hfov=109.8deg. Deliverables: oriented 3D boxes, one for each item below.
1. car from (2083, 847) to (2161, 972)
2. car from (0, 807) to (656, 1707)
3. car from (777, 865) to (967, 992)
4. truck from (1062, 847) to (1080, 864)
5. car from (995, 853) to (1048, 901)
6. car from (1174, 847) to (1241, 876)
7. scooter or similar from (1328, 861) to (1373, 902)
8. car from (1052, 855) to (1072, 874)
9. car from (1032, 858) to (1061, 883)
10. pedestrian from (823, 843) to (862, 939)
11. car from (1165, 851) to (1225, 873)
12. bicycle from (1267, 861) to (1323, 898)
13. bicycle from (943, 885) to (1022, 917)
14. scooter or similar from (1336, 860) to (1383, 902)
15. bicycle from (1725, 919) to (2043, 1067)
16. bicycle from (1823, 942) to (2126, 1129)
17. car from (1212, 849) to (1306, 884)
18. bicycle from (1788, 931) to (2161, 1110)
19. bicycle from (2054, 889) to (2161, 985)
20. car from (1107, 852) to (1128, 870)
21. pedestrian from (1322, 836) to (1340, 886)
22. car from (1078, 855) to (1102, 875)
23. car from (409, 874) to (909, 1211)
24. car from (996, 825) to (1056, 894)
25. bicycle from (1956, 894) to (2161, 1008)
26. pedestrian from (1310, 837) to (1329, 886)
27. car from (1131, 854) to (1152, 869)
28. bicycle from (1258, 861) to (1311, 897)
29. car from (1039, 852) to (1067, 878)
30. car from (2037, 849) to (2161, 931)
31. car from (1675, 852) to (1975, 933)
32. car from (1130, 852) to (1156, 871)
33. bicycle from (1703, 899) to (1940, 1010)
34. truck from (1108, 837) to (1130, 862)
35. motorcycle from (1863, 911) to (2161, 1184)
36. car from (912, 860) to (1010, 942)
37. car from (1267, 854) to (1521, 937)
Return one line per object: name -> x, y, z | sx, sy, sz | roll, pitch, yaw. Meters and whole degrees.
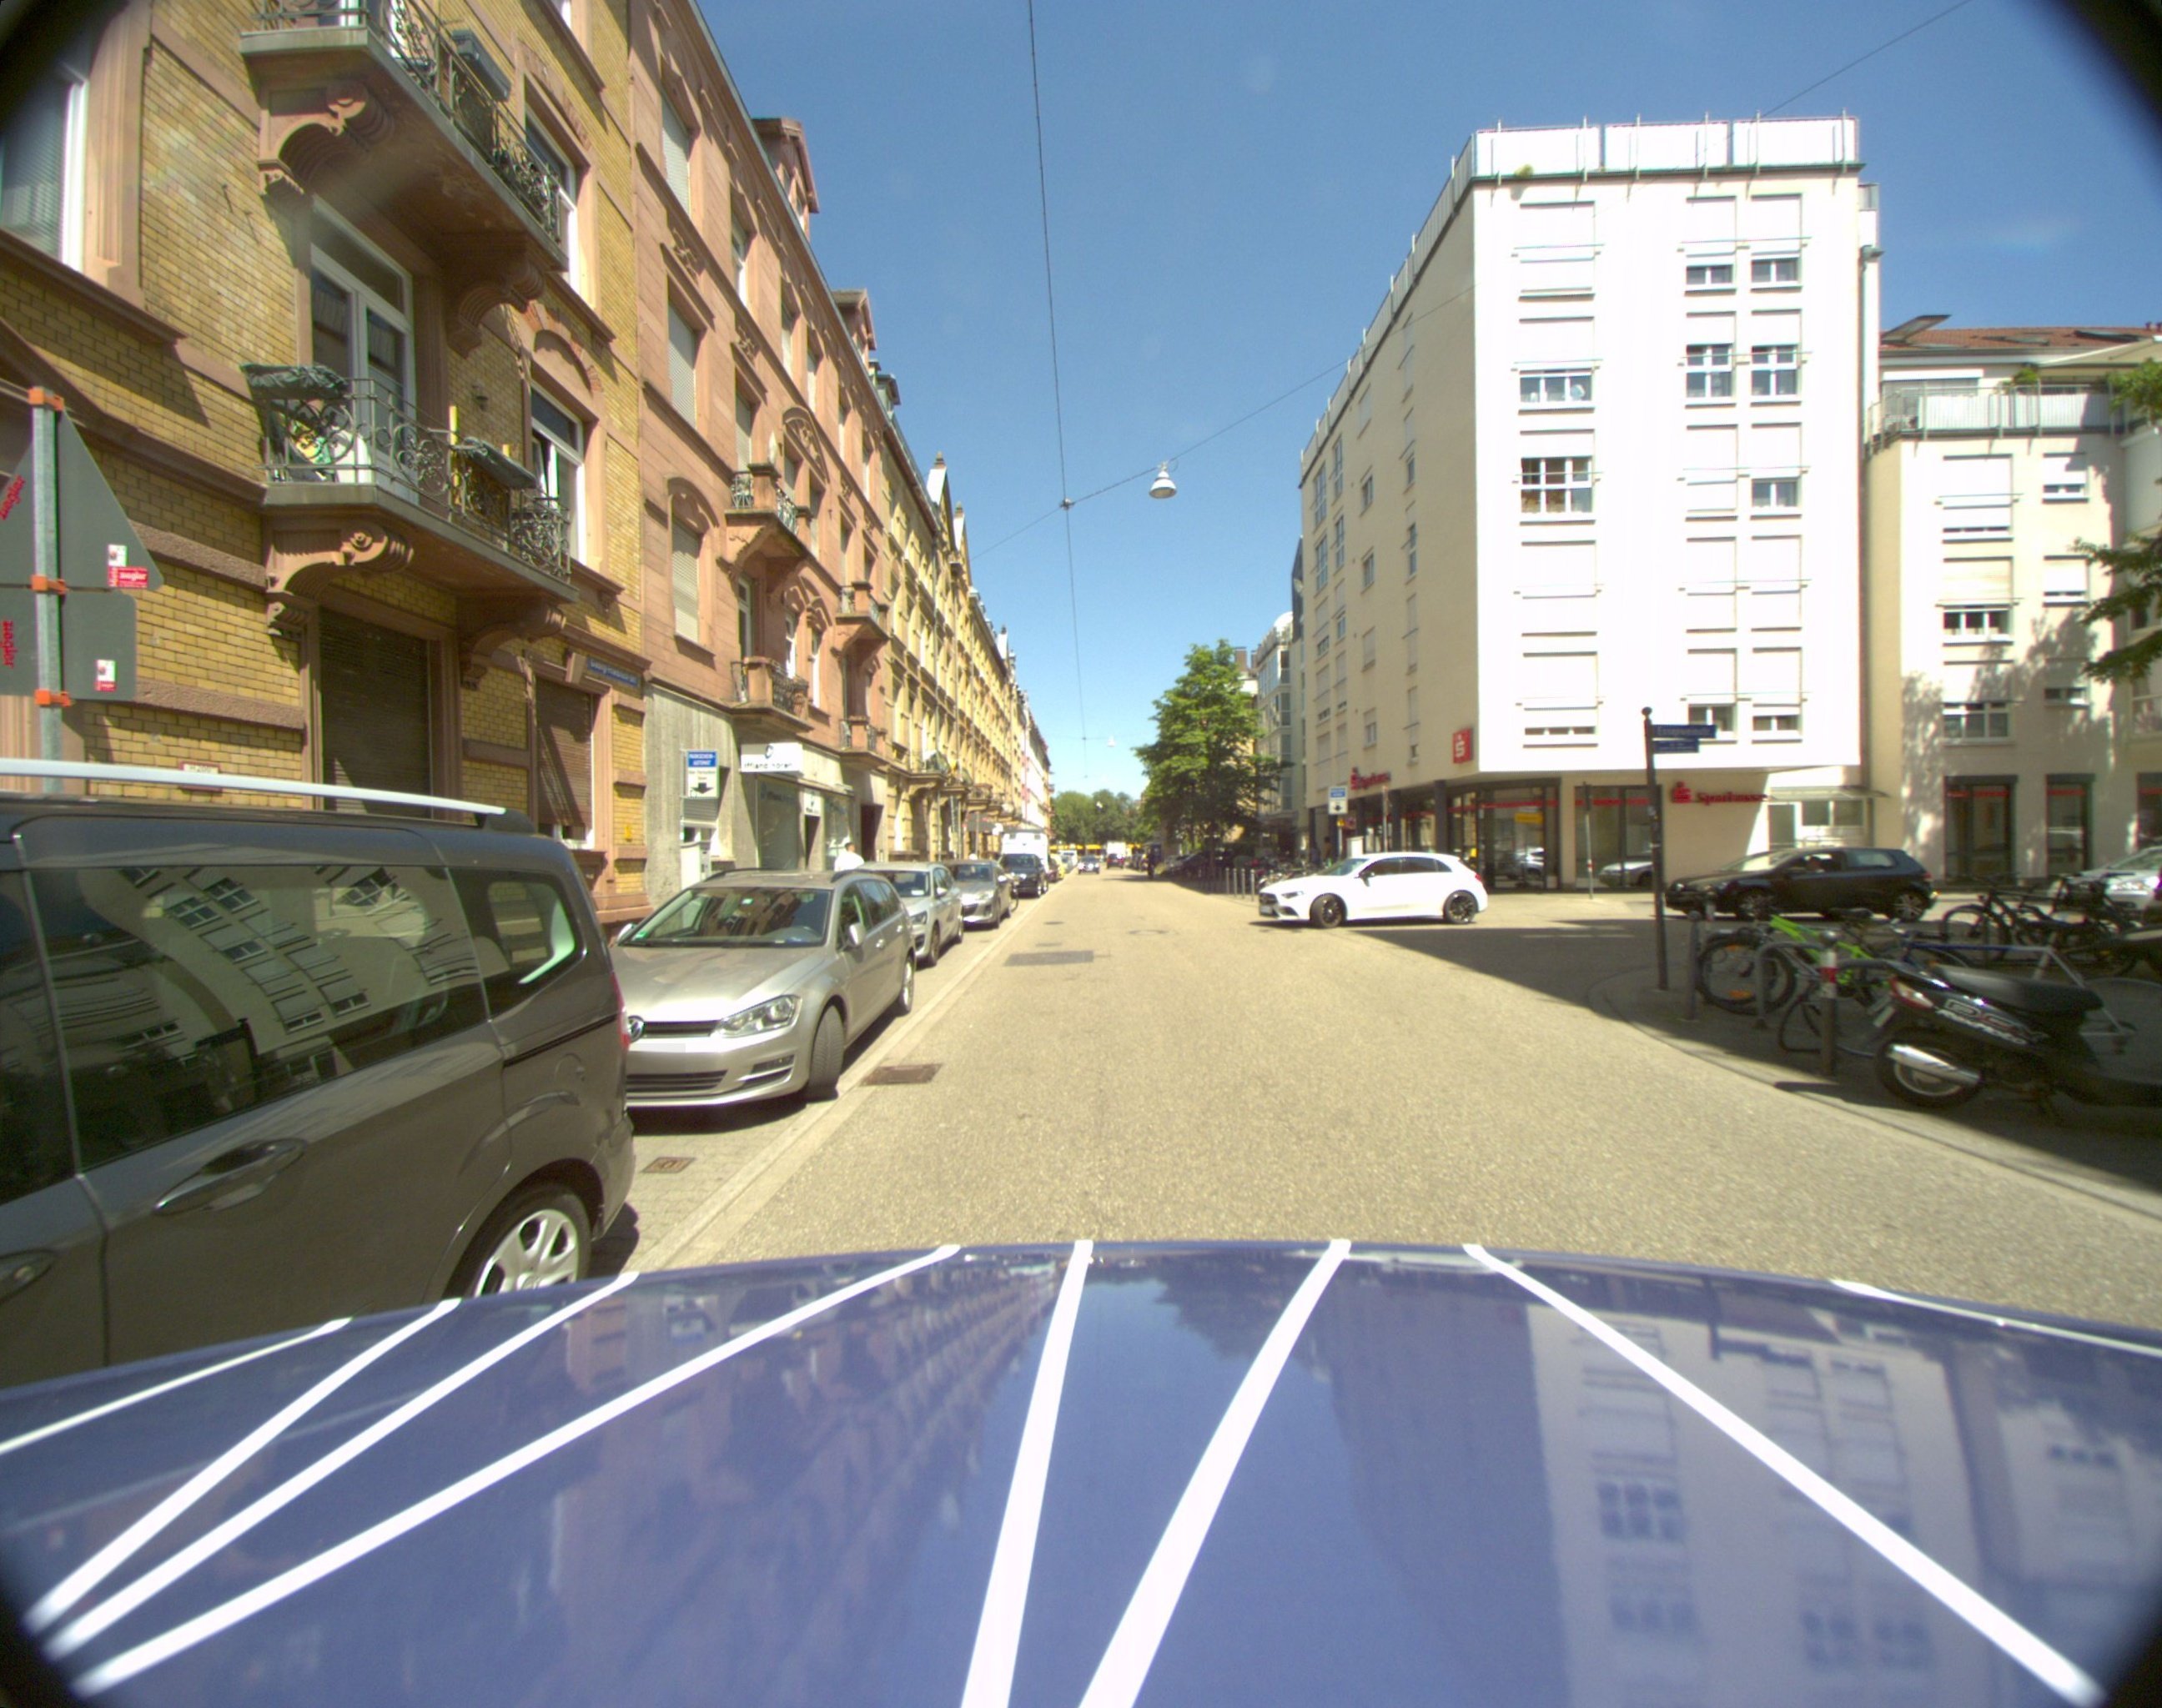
car -> 14.293, 0.524, 8.268 | 3.997, 1.421, 2.001 | -3, -3, 1
car -> -2.500, 0.820, 0.841 | 1.706, 1.723, 4.000 | -2, 1, 1
car -> -2.927, 0.968, 11.575 | 1.830, 1.452, 3.999 | -2, 1, -2
truck -> -1.227, 0.205, 94.258 | 1.998, 2.002, 4.902 | -1, 0, 1
car -> -2.069, 0.756, 27.271 | 1.682, 1.528, 3.999 | -2, 1, -2
car -> 7.859, 0.469, 47.268 | 3.885, 1.737, 1.652 | -1, 0, 0
scooter or similar -> 7.776, 0.792, 21.924 | 1.192, 1.161, 0.289 | -1, 1, -1
car -> -1.690, 0.872, 66.600 | 1.682, 1.528, 3.999 | -2, 1, -2
car -> -1.960, 0.916, 43.541 | 1.533, 1.293, 3.686 | -2, 1, -2
pedestrian -> -4.814, 0.741, 15.374 | 0.635, 1.903, 0.370 | -1, 1, 1
car -> 7.901, 0.539, 52.760 | 3.885, 1.487, 1.652 | -1, 0, 0
bicycle -> 6.684, 0.798, 23.740 | 1.608, 1.084, 0.371 | -3, 1, 6
bicycle -> -2.596, 1.233, 20.061 | 1.965, 0.772, 0.568 | -1, 1, 5
scooter or similar -> 7.867, 0.749, 21.469 | 1.192, 1.161, 0.289 | -1, 1, -1
bicycle -> 6.317, 1.045, 6.108 | 1.706, 0.951, 0.411 | -1, 1, 43
bicycle -> 5.566, 1.087, 4.824 | 1.210, 0.951, 0.338 | -1, 1, 43
car -> 8.086, 0.563, 34.650 | 3.885, 1.520, 1.652 | -1, 0, 0
bicycle -> 6.035, 1.069, 5.225 | 1.706, 0.951, 0.411 | -1, 1, 43
bicycle -> 11.599, 0.896, 8.051 | 0.410, 0.951, 1.711 | -2, 1, 1
car -> 3.737, 0.671, 78.929 | 1.998, 1.674, 4.000 | -3, 1, 1
pedestrian -> 10.692, 0.315, 32.473 | 0.608, 2.113, 0.496 | 0, 1, 36
car -> 0.736, 0.858, 62.098 | 1.780, 1.460, 4.000 | -3, 1, 1
car -> -2.479, 0.962, 5.672 | 1.766, 1.441, 3.903 | -2, 1, -5
car -> -2.288, 0.203, 32.976 | 2.067, 2.687, 5.038 | -3, 1, 1
bicycle -> 10.355, 0.954, 7.968 | 0.410, 0.951, 1.711 | -2, 1, 1
pedestrian -> 10.492, 0.318, 33.415 | 0.495, 2.113, 0.608 | -1, 1, -19
car -> 6.788, 0.789, 85.605 | 1.998, 1.505, 4.000 | -3, 1, 1
bicycle -> 6.762, 0.831, 25.306 | 1.608, 1.084, 0.371 | -3, 1, 6
car -> -1.777, 0.683, 48.688 | 1.682, 1.528, 3.999 | -2, 1, -2
car -> 20.957, 0.620, 14.103 | 3.887, 1.417, 1.816 | -1, 0, 5
car -> 14.198, 0.703, 14.723 | 3.887, 1.417, 1.816 | -1, 0, 5
car -> 5.509, 0.645, 68.309 | 1.998, 1.505, 4.000 | -3, 1, 1
bicycle -> 7.633, 0.988, 7.929 | 0.411, 0.951, 1.707 | -3, 1, -32
truck -> 5.032, -0.634, 102.220 | 2.763, 3.270, 4.957 | -1, 0, 1
motorcycle -> 5.180, 0.955, 3.905 | 1.552, 1.277, 0.394 | -2, 2, 33
car -> -2.454, 0.918, 16.365 | 1.603, 1.454, 3.689 | -2, 1, -2
car -> 5.999, 0.751, 14.833 | 4.241, 1.417, 1.814 | -1, 0, -6
